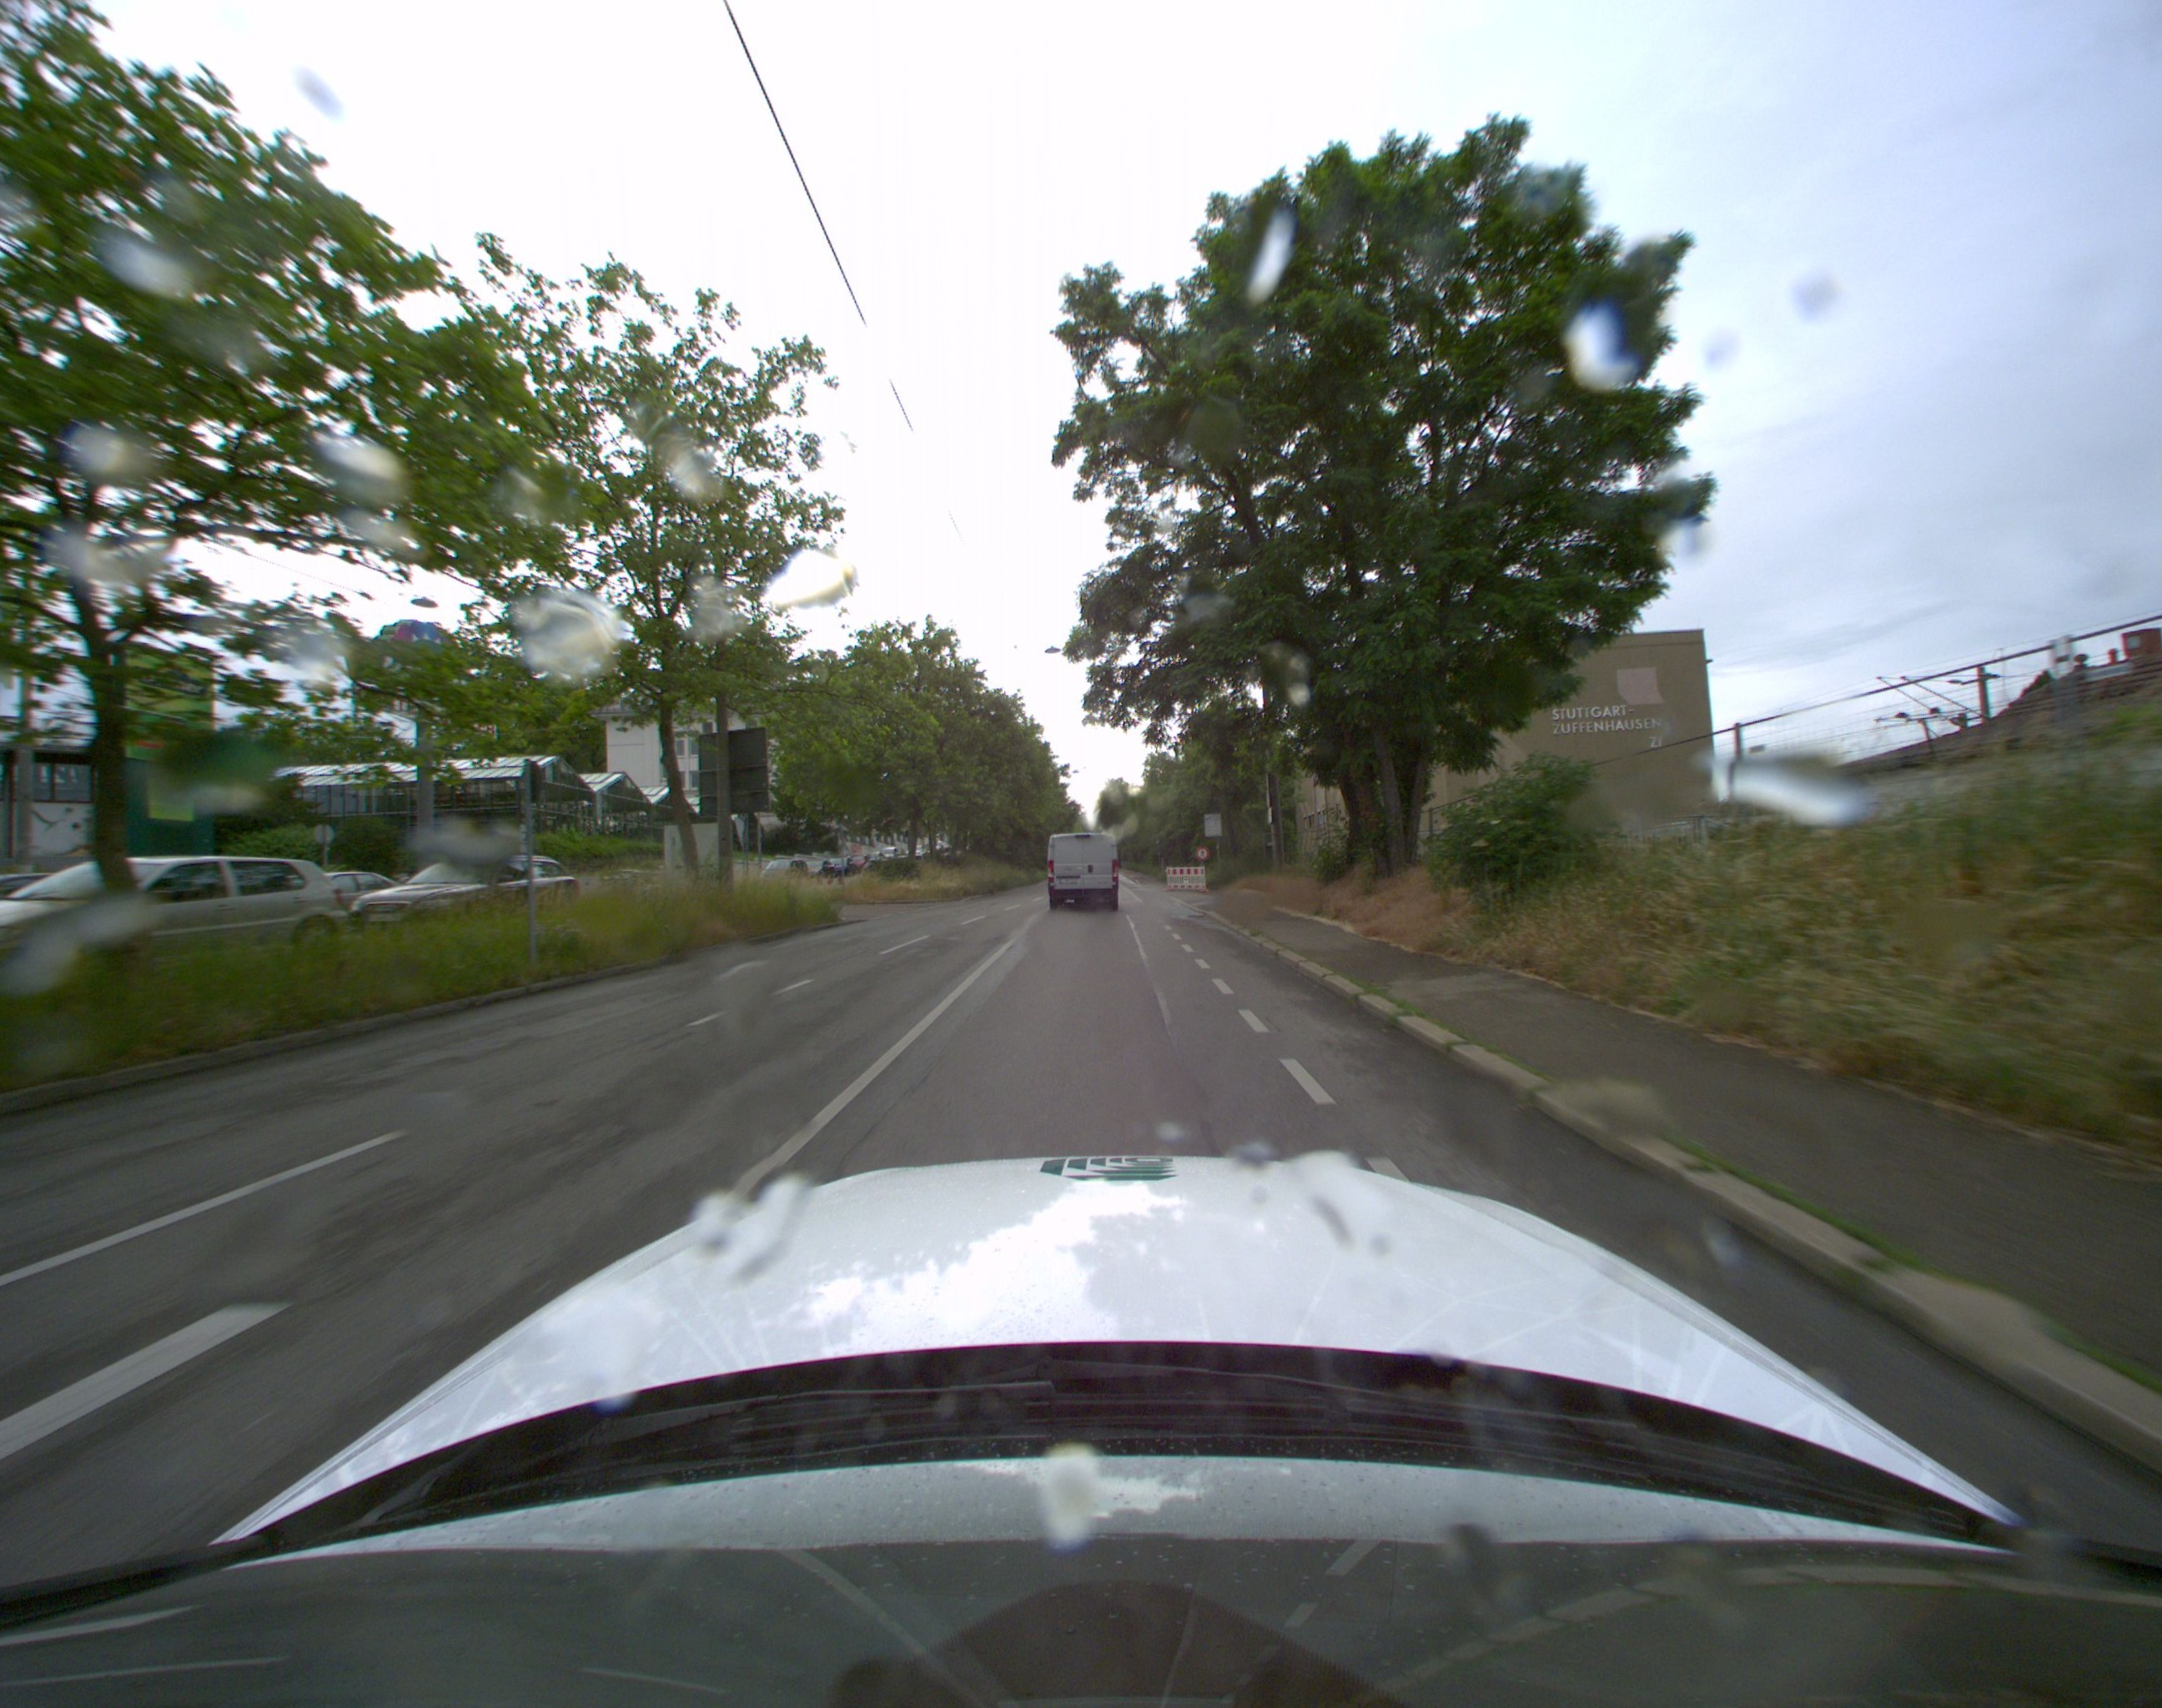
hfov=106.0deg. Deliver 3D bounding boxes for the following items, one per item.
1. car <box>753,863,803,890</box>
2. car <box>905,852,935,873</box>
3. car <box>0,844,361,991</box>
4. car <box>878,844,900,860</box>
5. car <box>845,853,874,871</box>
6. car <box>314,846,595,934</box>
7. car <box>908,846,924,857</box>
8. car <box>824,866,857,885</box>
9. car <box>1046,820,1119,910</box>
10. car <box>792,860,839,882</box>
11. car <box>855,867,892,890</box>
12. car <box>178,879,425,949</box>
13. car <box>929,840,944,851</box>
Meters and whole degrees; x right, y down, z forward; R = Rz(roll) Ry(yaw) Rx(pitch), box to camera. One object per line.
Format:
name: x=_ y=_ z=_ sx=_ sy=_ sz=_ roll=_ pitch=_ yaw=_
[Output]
car: x=-17.750 y=1.350 z=47.903 sx=1.644 sy=1.487 sz=3.514 roll=-3 pitch=-2 yaw=-1
car: x=-11.438 y=0.634 z=58.008 sx=1.430 sy=1.361 sz=3.174 roll=-3 pitch=-2 yaw=0
car: x=-10.868 y=0.707 z=9.638 sx=1.356 sy=1.395 sz=3.707 roll=-3 pitch=-2 yaw=0
car: x=-18.131 y=-0.156 z=77.045 sx=1.379 sy=1.298 sz=3.012 roll=-3 pitch=-2 yaw=-2
car: x=-17.808 y=0.680 z=65.626 sx=1.355 sy=1.310 sz=3.086 roll=-3 pitch=-2 yaw=1
car: x=-11.176 y=0.650 z=15.033 sx=1.532 sy=1.293 sz=4.546 roll=-3 pitch=-2 yaw=2
car: x=-18.432 y=-0.287 z=91.183 sx=1.209 sy=1.133 sz=2.452 roll=-3 pitch=-2 yaw=1
car: x=-17.570 y=1.574 z=59.655 sx=1.460 sy=1.291 sz=3.302 roll=-3 pitch=-2 yaw=-1
car: x=0.109 y=0.305 z=25.513 sx=2.043 sy=2.516 sz=4.945 roll=0 pitch=0 yaw=1
car: x=-17.657 y=1.140 z=54.274 sx=1.810 sy=1.291 sz=4.119 roll=-3 pitch=-2 yaw=-1
car: x=-11.400 y=1.350 z=44.871 sx=1.346 sy=1.131 sz=2.751 roll=-3 pitch=-2 yaw=-1
car: x=-17.140 y=1.272 z=18.240 sx=1.397 sy=1.318 sz=4.278 roll=-3 pitch=-2 yaw=0
car: x=-19.071 y=-1.064 z=107.609 sx=1.595 sy=1.250 sz=2.908 roll=-3 pitch=-2 yaw=-2
